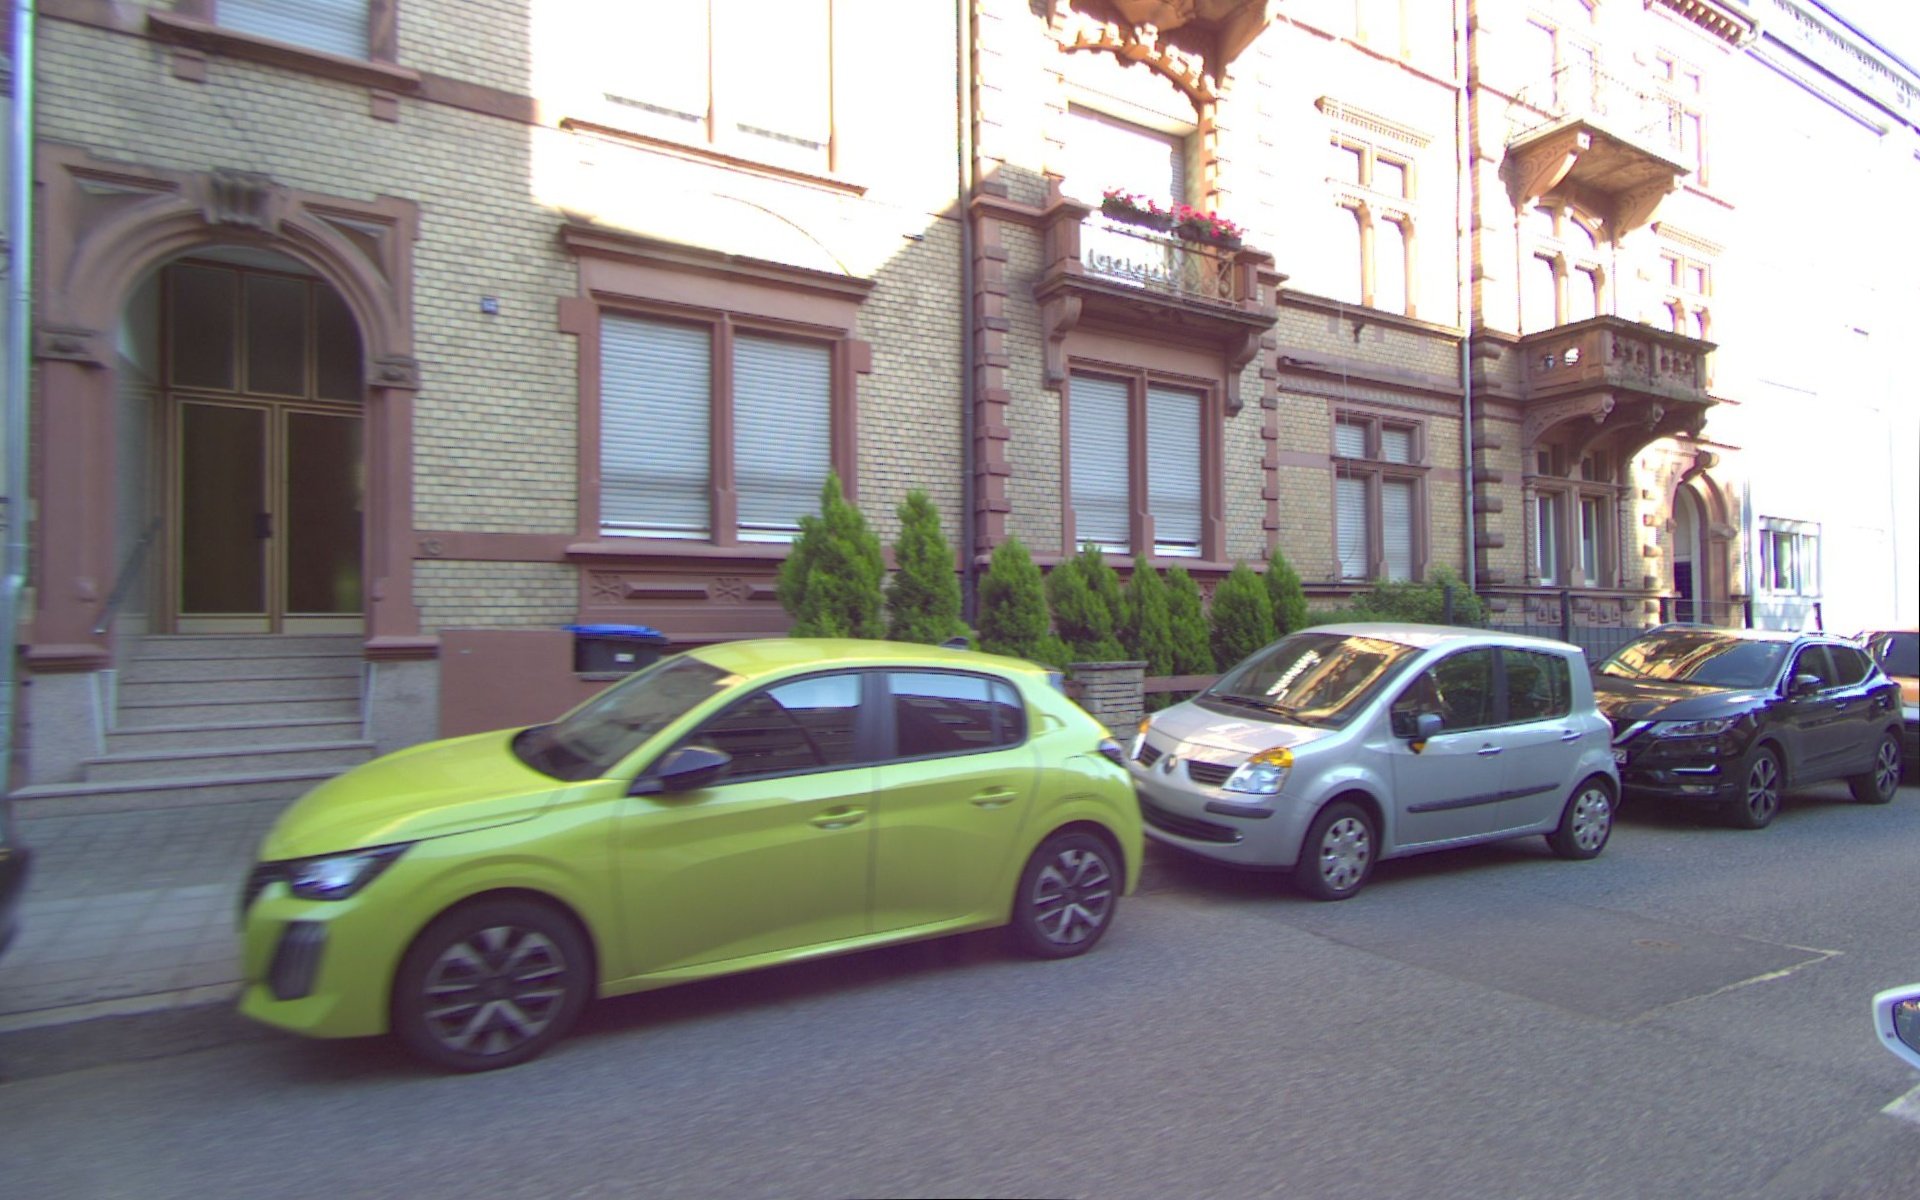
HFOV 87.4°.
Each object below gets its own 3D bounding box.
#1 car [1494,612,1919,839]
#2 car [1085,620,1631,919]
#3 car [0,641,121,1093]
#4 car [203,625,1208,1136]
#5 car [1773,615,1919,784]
[{"bbox_3d":[7.181,1.001,9.487,4.386,1.730,1.695,1,-1,-29],"label":"car"},{"bbox_3d":[2.833,0.961,7.065,3.590,1.605,1.695,1,-1,-29],"label":"car"},{"bbox_3d":[-4.923,0.834,2.690,3.813,1.385,1.695,1,-1,-29],"label":"car"},{"bbox_3d":[-0.925,0.950,4.794,4.024,1.522,1.695,3,-2,-29],"label":"car"},{"bbox_3d":[11.478,1.081,11.909,3.813,1.761,1.694,1,-1,-31],"label":"car"}]
